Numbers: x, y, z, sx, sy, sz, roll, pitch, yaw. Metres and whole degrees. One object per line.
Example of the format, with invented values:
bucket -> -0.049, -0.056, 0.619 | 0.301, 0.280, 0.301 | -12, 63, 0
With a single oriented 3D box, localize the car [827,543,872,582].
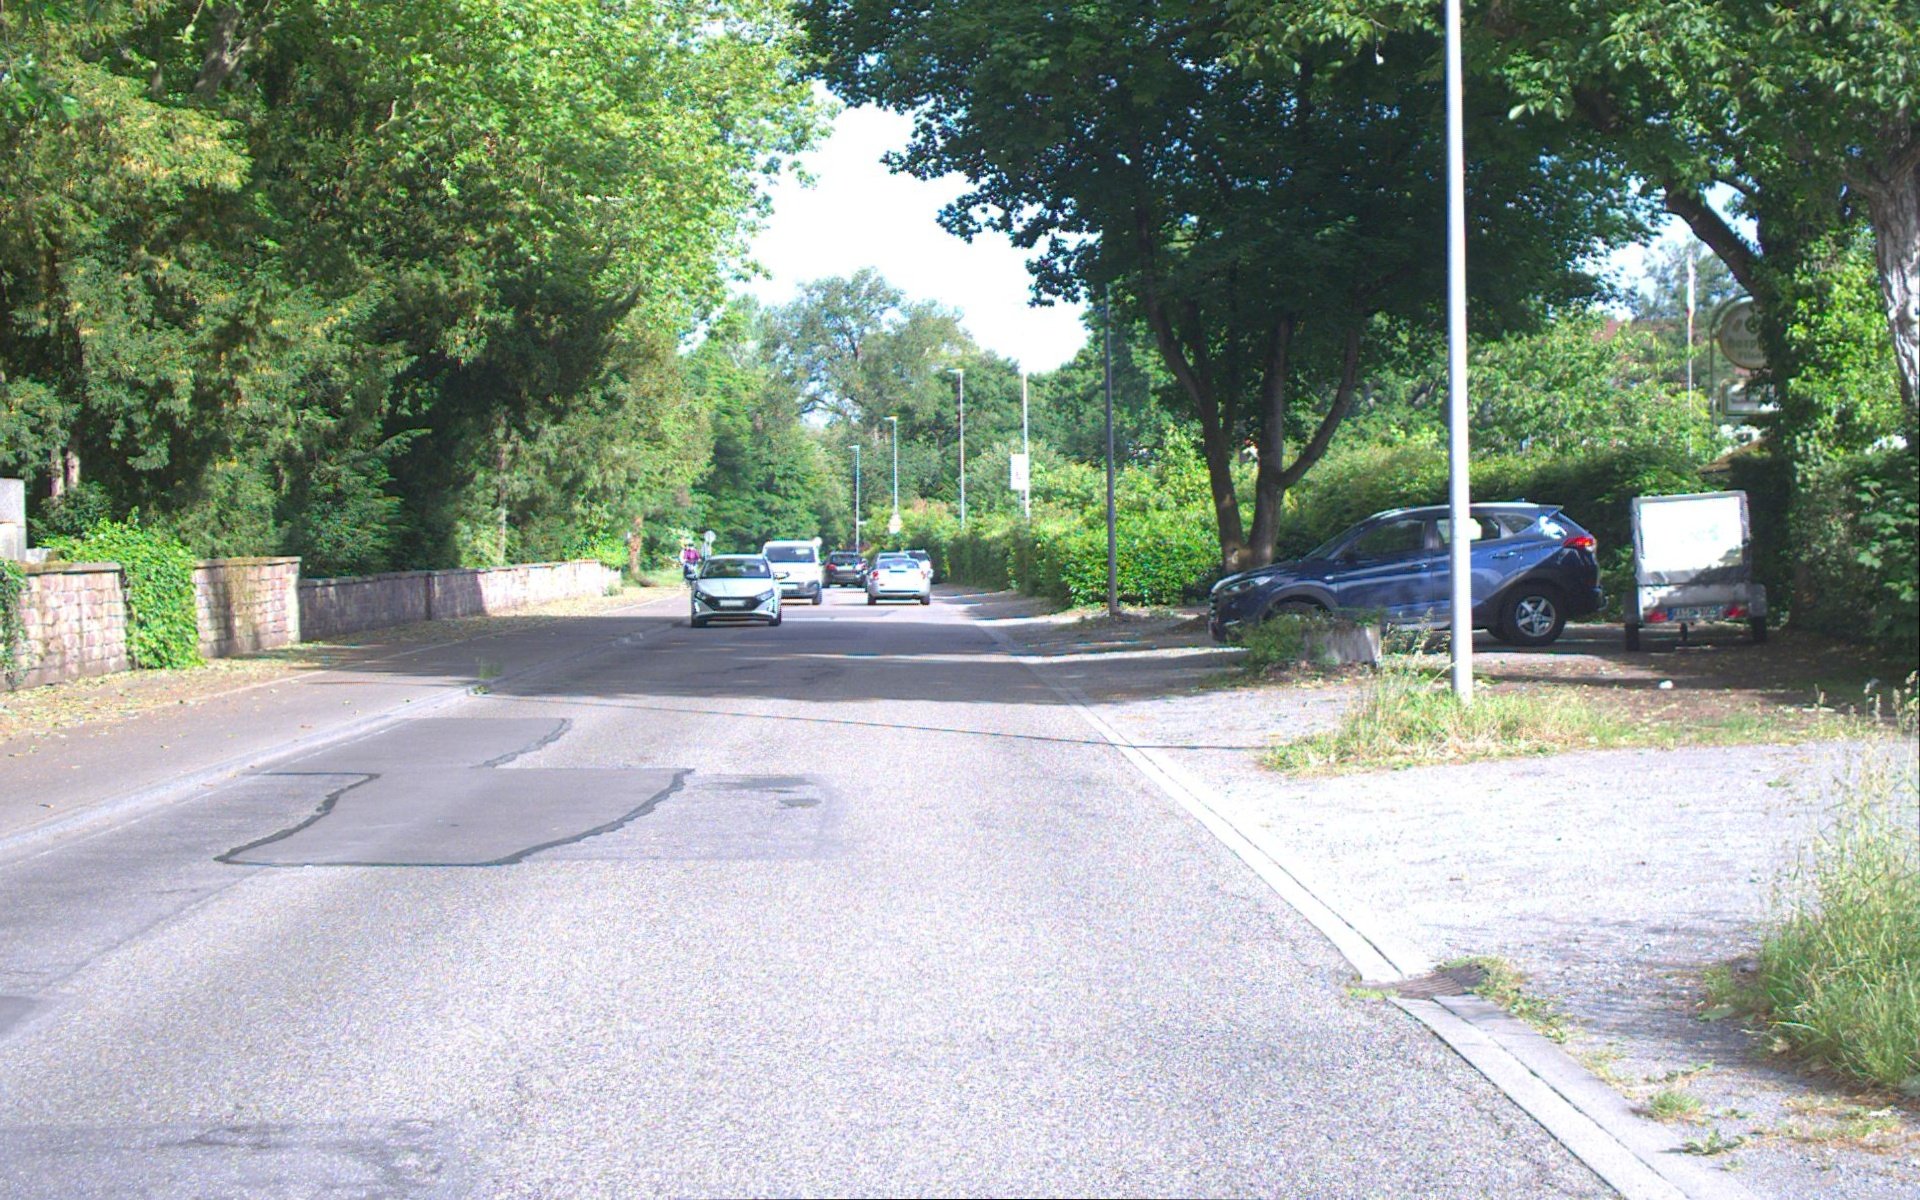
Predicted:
car -> -4.742, -1.627, 147.754 | 1.886, 1.608, 4.055 | -1, 1, -2

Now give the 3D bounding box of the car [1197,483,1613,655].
car -> 5.031, -0.366, 39.337 | 4.403, 1.641, 2.000 | -4, 1, 0

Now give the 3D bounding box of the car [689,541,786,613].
car -> -4.498, -0.491, 69.587 | 1.886, 1.367, 4.055 | -1, 1, -3

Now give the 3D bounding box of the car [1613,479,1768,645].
car -> 7.906, -0.460, 37.424 | 1.351, 1.627, 4.110 | -3, 1, 9

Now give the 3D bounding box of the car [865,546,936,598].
car -> -1.679, -0.800, 96.108 | 1.886, 1.367, 4.055 | -1, 1, -2

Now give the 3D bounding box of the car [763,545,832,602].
car -> -4.628, -0.777, 98.245 | 1.886, 1.559, 4.055 | -1, 1, -2
